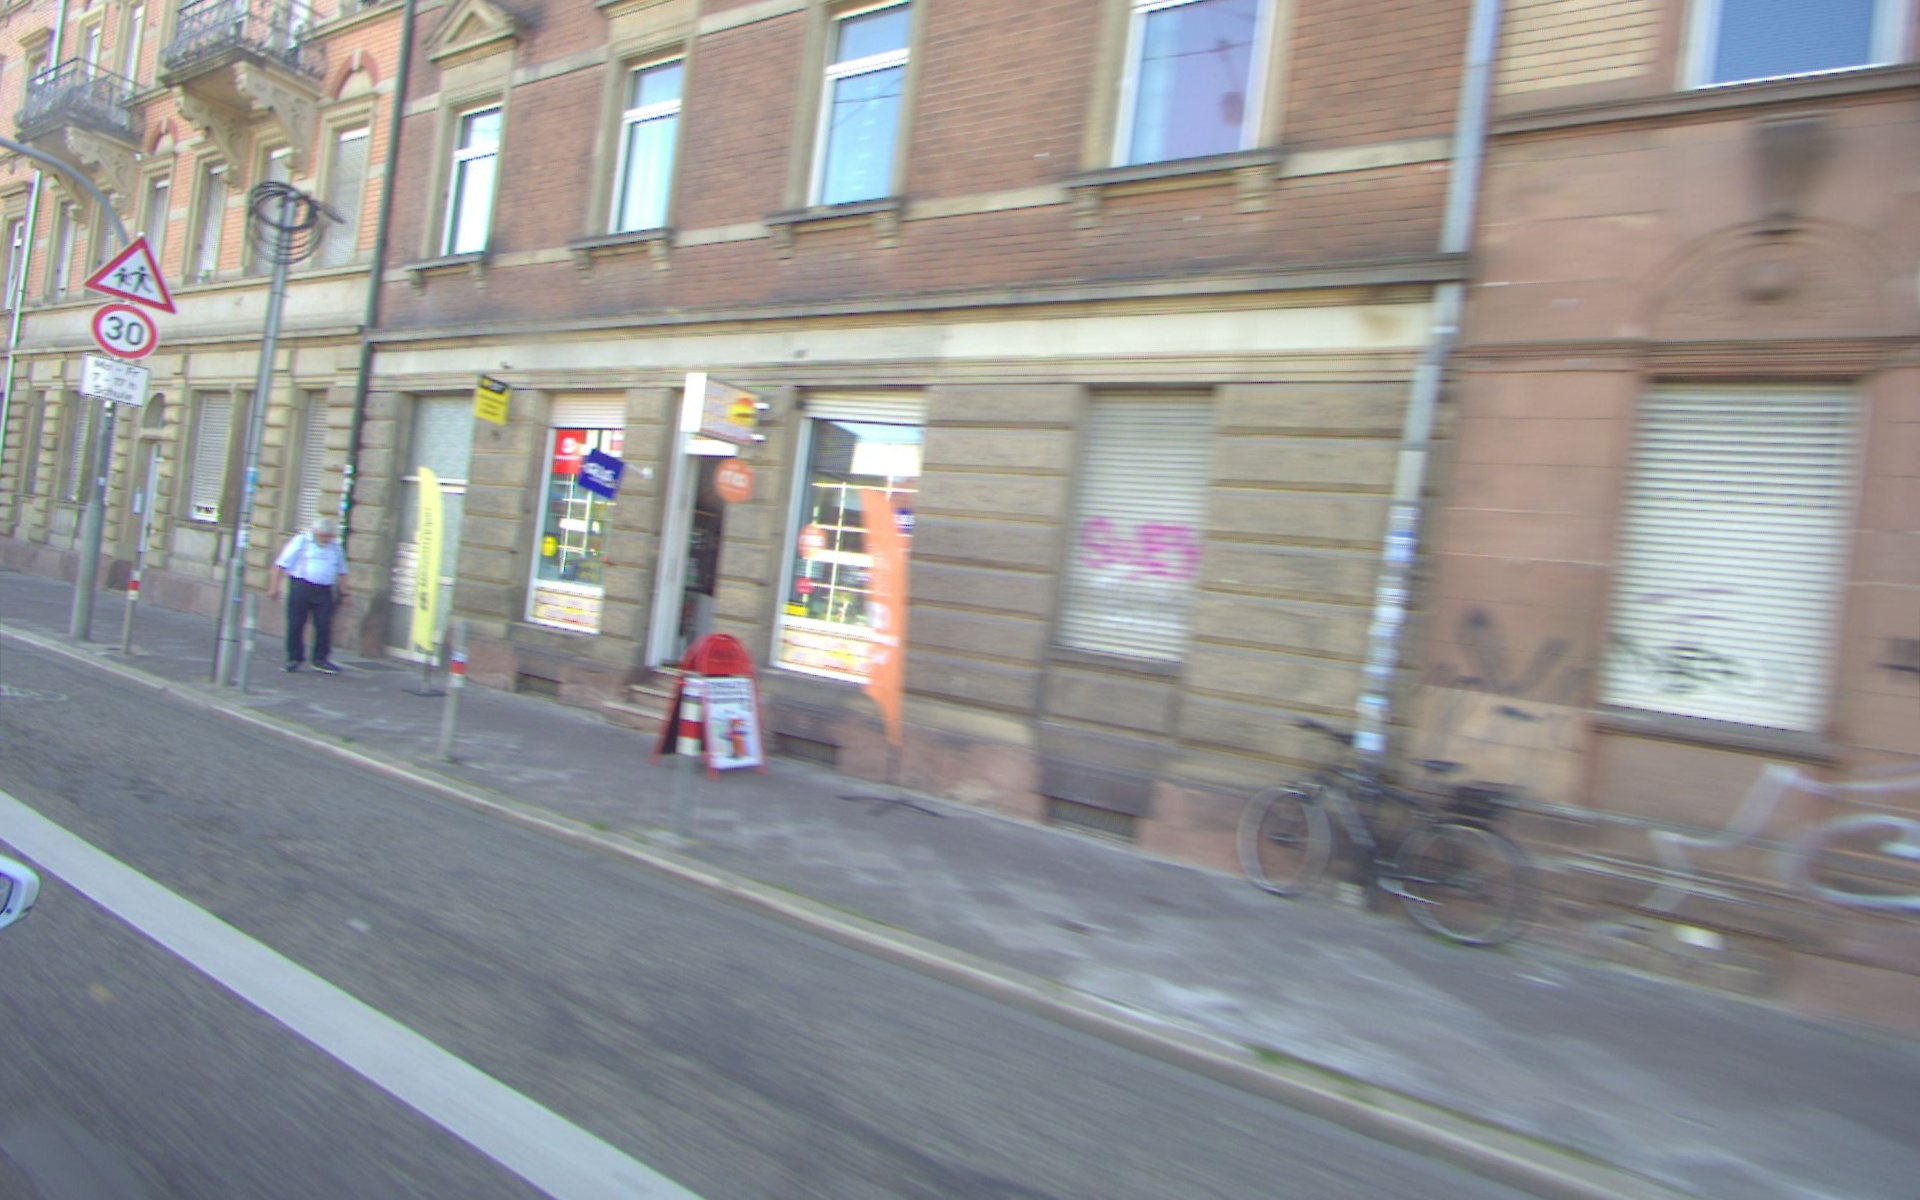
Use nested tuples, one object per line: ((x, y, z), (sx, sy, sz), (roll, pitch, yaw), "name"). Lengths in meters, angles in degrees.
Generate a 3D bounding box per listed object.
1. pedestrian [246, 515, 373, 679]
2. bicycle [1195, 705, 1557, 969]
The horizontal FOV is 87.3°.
((-6.919, -0.022, 10.715), (0.642, 1.624, 0.799), (6, -1, 34), "pedestrian")
((2.425, 1.329, 6.036), (1.868, 1.135, 0.409), (6, 1, 36), "bicycle")
